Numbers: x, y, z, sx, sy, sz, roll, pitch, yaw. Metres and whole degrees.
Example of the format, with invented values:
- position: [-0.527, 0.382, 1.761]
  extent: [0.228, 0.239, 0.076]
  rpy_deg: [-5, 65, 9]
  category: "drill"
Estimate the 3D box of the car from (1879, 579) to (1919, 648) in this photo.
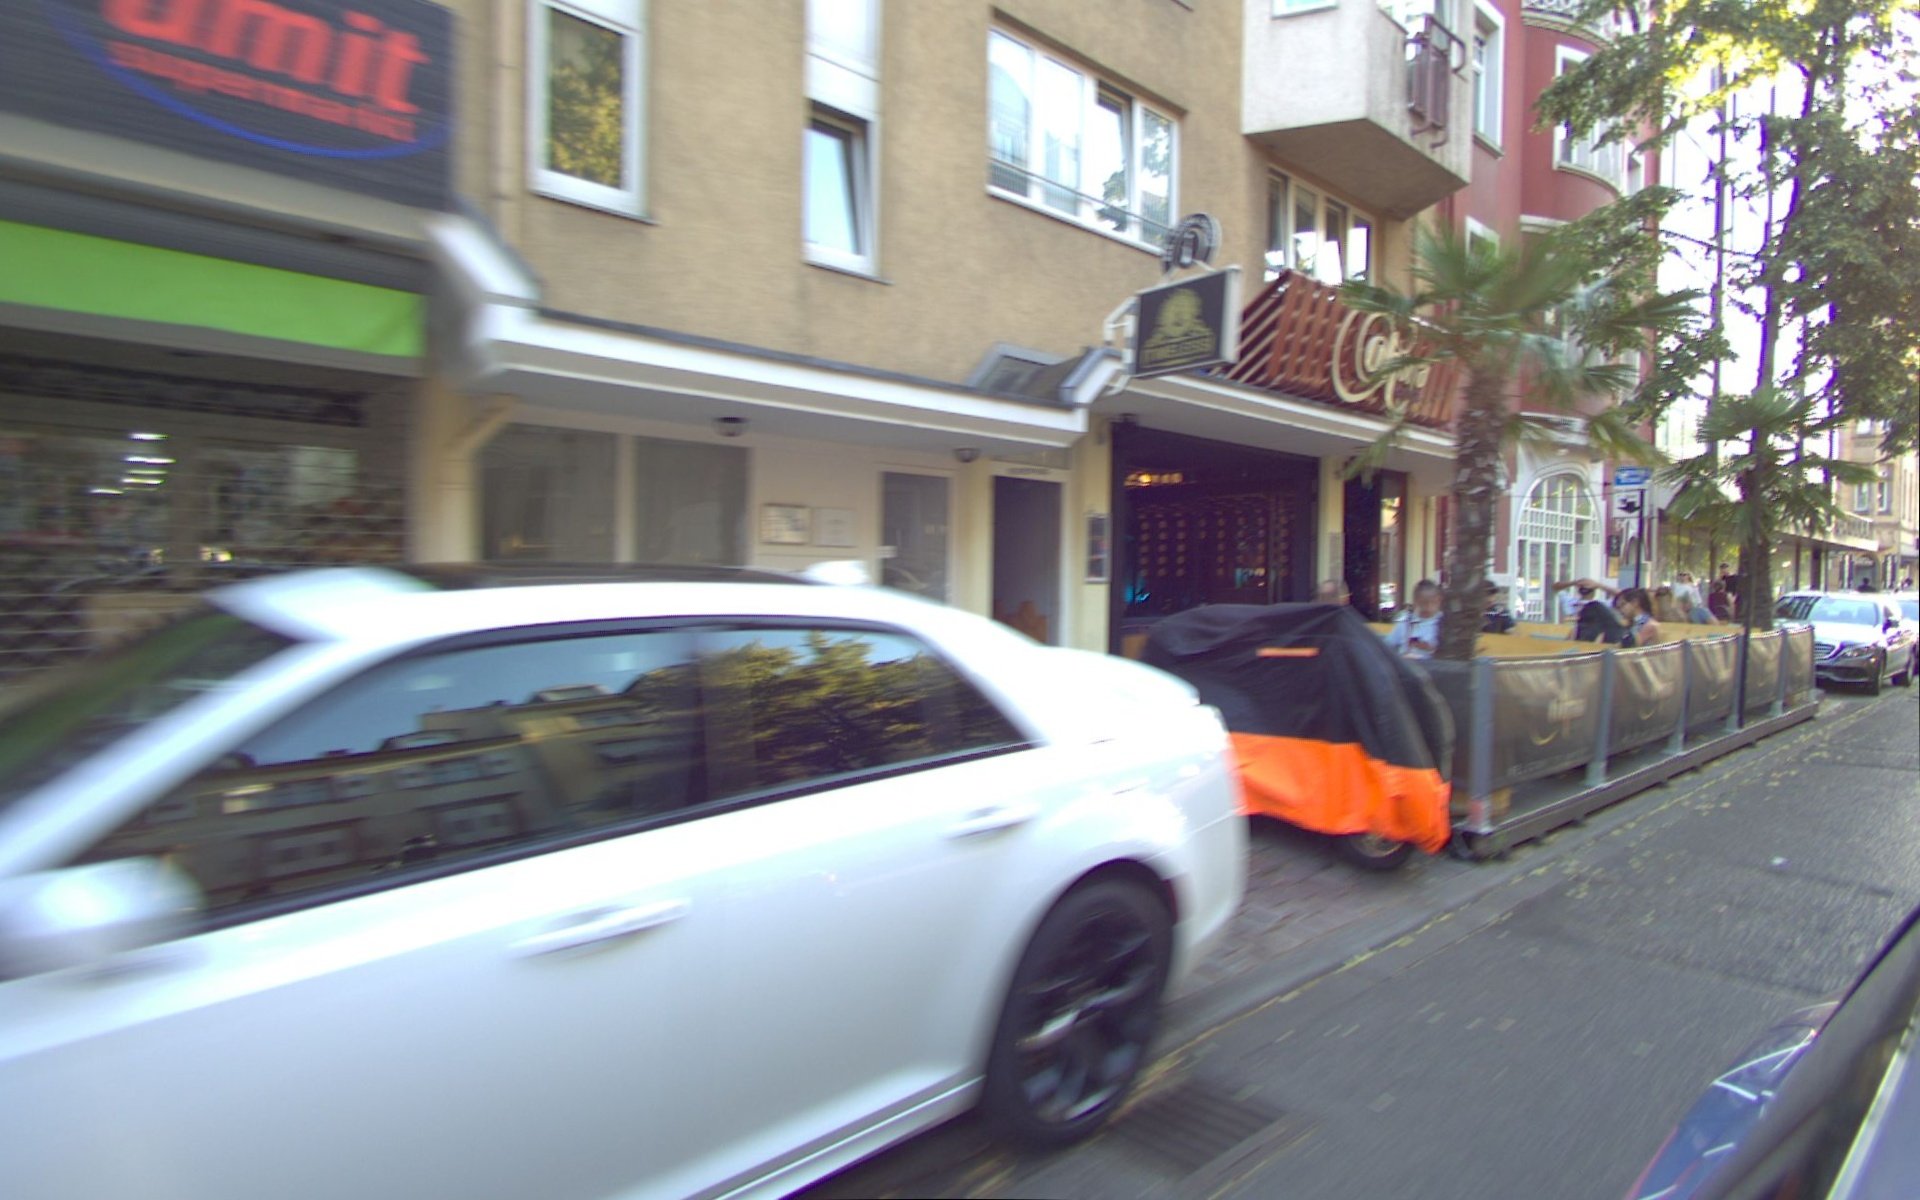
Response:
- position: [23.312, 0.318, 23.990]
  extent: [4.671, 1.510, 1.726]
  rpy_deg: [-1, 4, -42]
  category: "car"

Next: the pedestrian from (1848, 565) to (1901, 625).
- position: [29.193, -0.179, 32.313]
  extent: [0.928, 1.807, 1.049]
  rpy_deg: [0, 4, -41]
  category: "pedestrian"

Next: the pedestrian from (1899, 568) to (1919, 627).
- position: [29.888, -0.076, 31.504]
  extent: [0.855, 1.806, 0.732]
  rpy_deg: [0, 5, -41]
  category: "pedestrian"

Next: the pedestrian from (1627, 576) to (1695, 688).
- position: [8.889, 0.389, 12.837]
  extent: [0.430, 1.361, 0.549]
  rpy_deg: [0, 3, -40]
  category: "pedestrian"

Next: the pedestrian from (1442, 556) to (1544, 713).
- position: [5.051, 0.302, 9.591]
  extent: [0.706, 1.401, 0.579]
  rpy_deg: [0, 3, -41]
  category: "pedestrian"

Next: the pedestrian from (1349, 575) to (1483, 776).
- position: [3.085, 0.476, 6.861]
  extent: [0.592, 1.259, 0.579]
  rpy_deg: [0, 3, -40]
  category: "pedestrian"

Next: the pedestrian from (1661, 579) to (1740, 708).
- position: [8.941, 0.501, 12.229]
  extent: [0.592, 1.480, 0.578]
  rpy_deg: [0, 3, -41]
  category: "pedestrian"

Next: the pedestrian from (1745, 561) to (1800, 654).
- position: [15.282, 0.133, 19.038]
  extent: [0.629, 1.698, 0.626]
  rpy_deg: [0, 3, -40]
  category: "pedestrian"

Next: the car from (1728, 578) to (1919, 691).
- position: [14.126, 0.445, 16.171]
  extent: [4.910, 1.457, 1.780]
  rpy_deg: [0, 4, -39]
  category: "car"

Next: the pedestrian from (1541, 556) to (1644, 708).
- position: [7.154, 0.336, 11.453]
  extent: [0.781, 1.618, 0.709]
  rpy_deg: [0, 3, -41]
  category: "pedestrian"

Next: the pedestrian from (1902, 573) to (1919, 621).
- position: [35.469, -0.118, 37.465]
  extent: [0.798, 1.780, 0.756]
  rpy_deg: [0, 2, -41]
  category: "pedestrian"

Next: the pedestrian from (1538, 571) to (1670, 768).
- position: [4.692, 0.468, 7.377]
  extent: [0.691, 1.335, 0.579]
  rpy_deg: [0, 3, -41]
  category: "pedestrian"

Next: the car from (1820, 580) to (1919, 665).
- position: [18.915, 0.391, 20.392]
  extent: [4.342, 1.488, 1.778]
  rpy_deg: [-1, 4, -42]
  category: "car"

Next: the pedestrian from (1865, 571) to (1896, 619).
- position: [35.007, -0.200, 38.488]
  extent: [0.798, 1.780, 0.756]
  rpy_deg: [0, 2, -41]
  category: "pedestrian"

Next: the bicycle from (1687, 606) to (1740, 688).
- position: [10.108, 0.601, 13.562]
  extent: [0.385, 0.996, 1.685]
  rpy_deg: [2, 2, 42]
  category: "bicycle"

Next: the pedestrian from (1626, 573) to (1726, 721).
- position: [7.690, 0.475, 10.867]
  extent: [0.781, 1.503, 0.633]
  rpy_deg: [0, 3, -41]
  category: "pedestrian"

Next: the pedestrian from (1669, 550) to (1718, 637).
- position: [16.000, -0.149, 22.064]
  extent: [0.821, 1.831, 0.590]
  rpy_deg: [0, 4, -41]
  category: "pedestrian"

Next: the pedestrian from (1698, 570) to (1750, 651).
- position: [14.619, 0.186, 19.370]
  extent: [0.629, 1.506, 0.626]
  rpy_deg: [0, 3, -40]
  category: "pedestrian"

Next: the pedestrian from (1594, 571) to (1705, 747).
- position: [5.850, 0.470, 8.588]
  extent: [0.592, 1.401, 0.579]
  rpy_deg: [0, 3, -40]
  category: "pedestrian"

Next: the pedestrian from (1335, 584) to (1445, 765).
- position: [3.555, 0.581, 8.382]
  extent: [0.592, 1.401, 0.579]
  rpy_deg: [0, 3, -40]
  category: "pedestrian"

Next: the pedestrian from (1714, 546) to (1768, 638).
- position: [16.582, -0.183, 21.477]
  extent: [0.959, 1.890, 0.627]
  rpy_deg: [0, 4, -41]
  category: "pedestrian"

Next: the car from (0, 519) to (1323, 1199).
- position: [-1.352, 0.604, 2.357]
  extent: [5.100, 1.498, 1.846]
  rpy_deg: [-1, 4, -41]
  category: "car"
